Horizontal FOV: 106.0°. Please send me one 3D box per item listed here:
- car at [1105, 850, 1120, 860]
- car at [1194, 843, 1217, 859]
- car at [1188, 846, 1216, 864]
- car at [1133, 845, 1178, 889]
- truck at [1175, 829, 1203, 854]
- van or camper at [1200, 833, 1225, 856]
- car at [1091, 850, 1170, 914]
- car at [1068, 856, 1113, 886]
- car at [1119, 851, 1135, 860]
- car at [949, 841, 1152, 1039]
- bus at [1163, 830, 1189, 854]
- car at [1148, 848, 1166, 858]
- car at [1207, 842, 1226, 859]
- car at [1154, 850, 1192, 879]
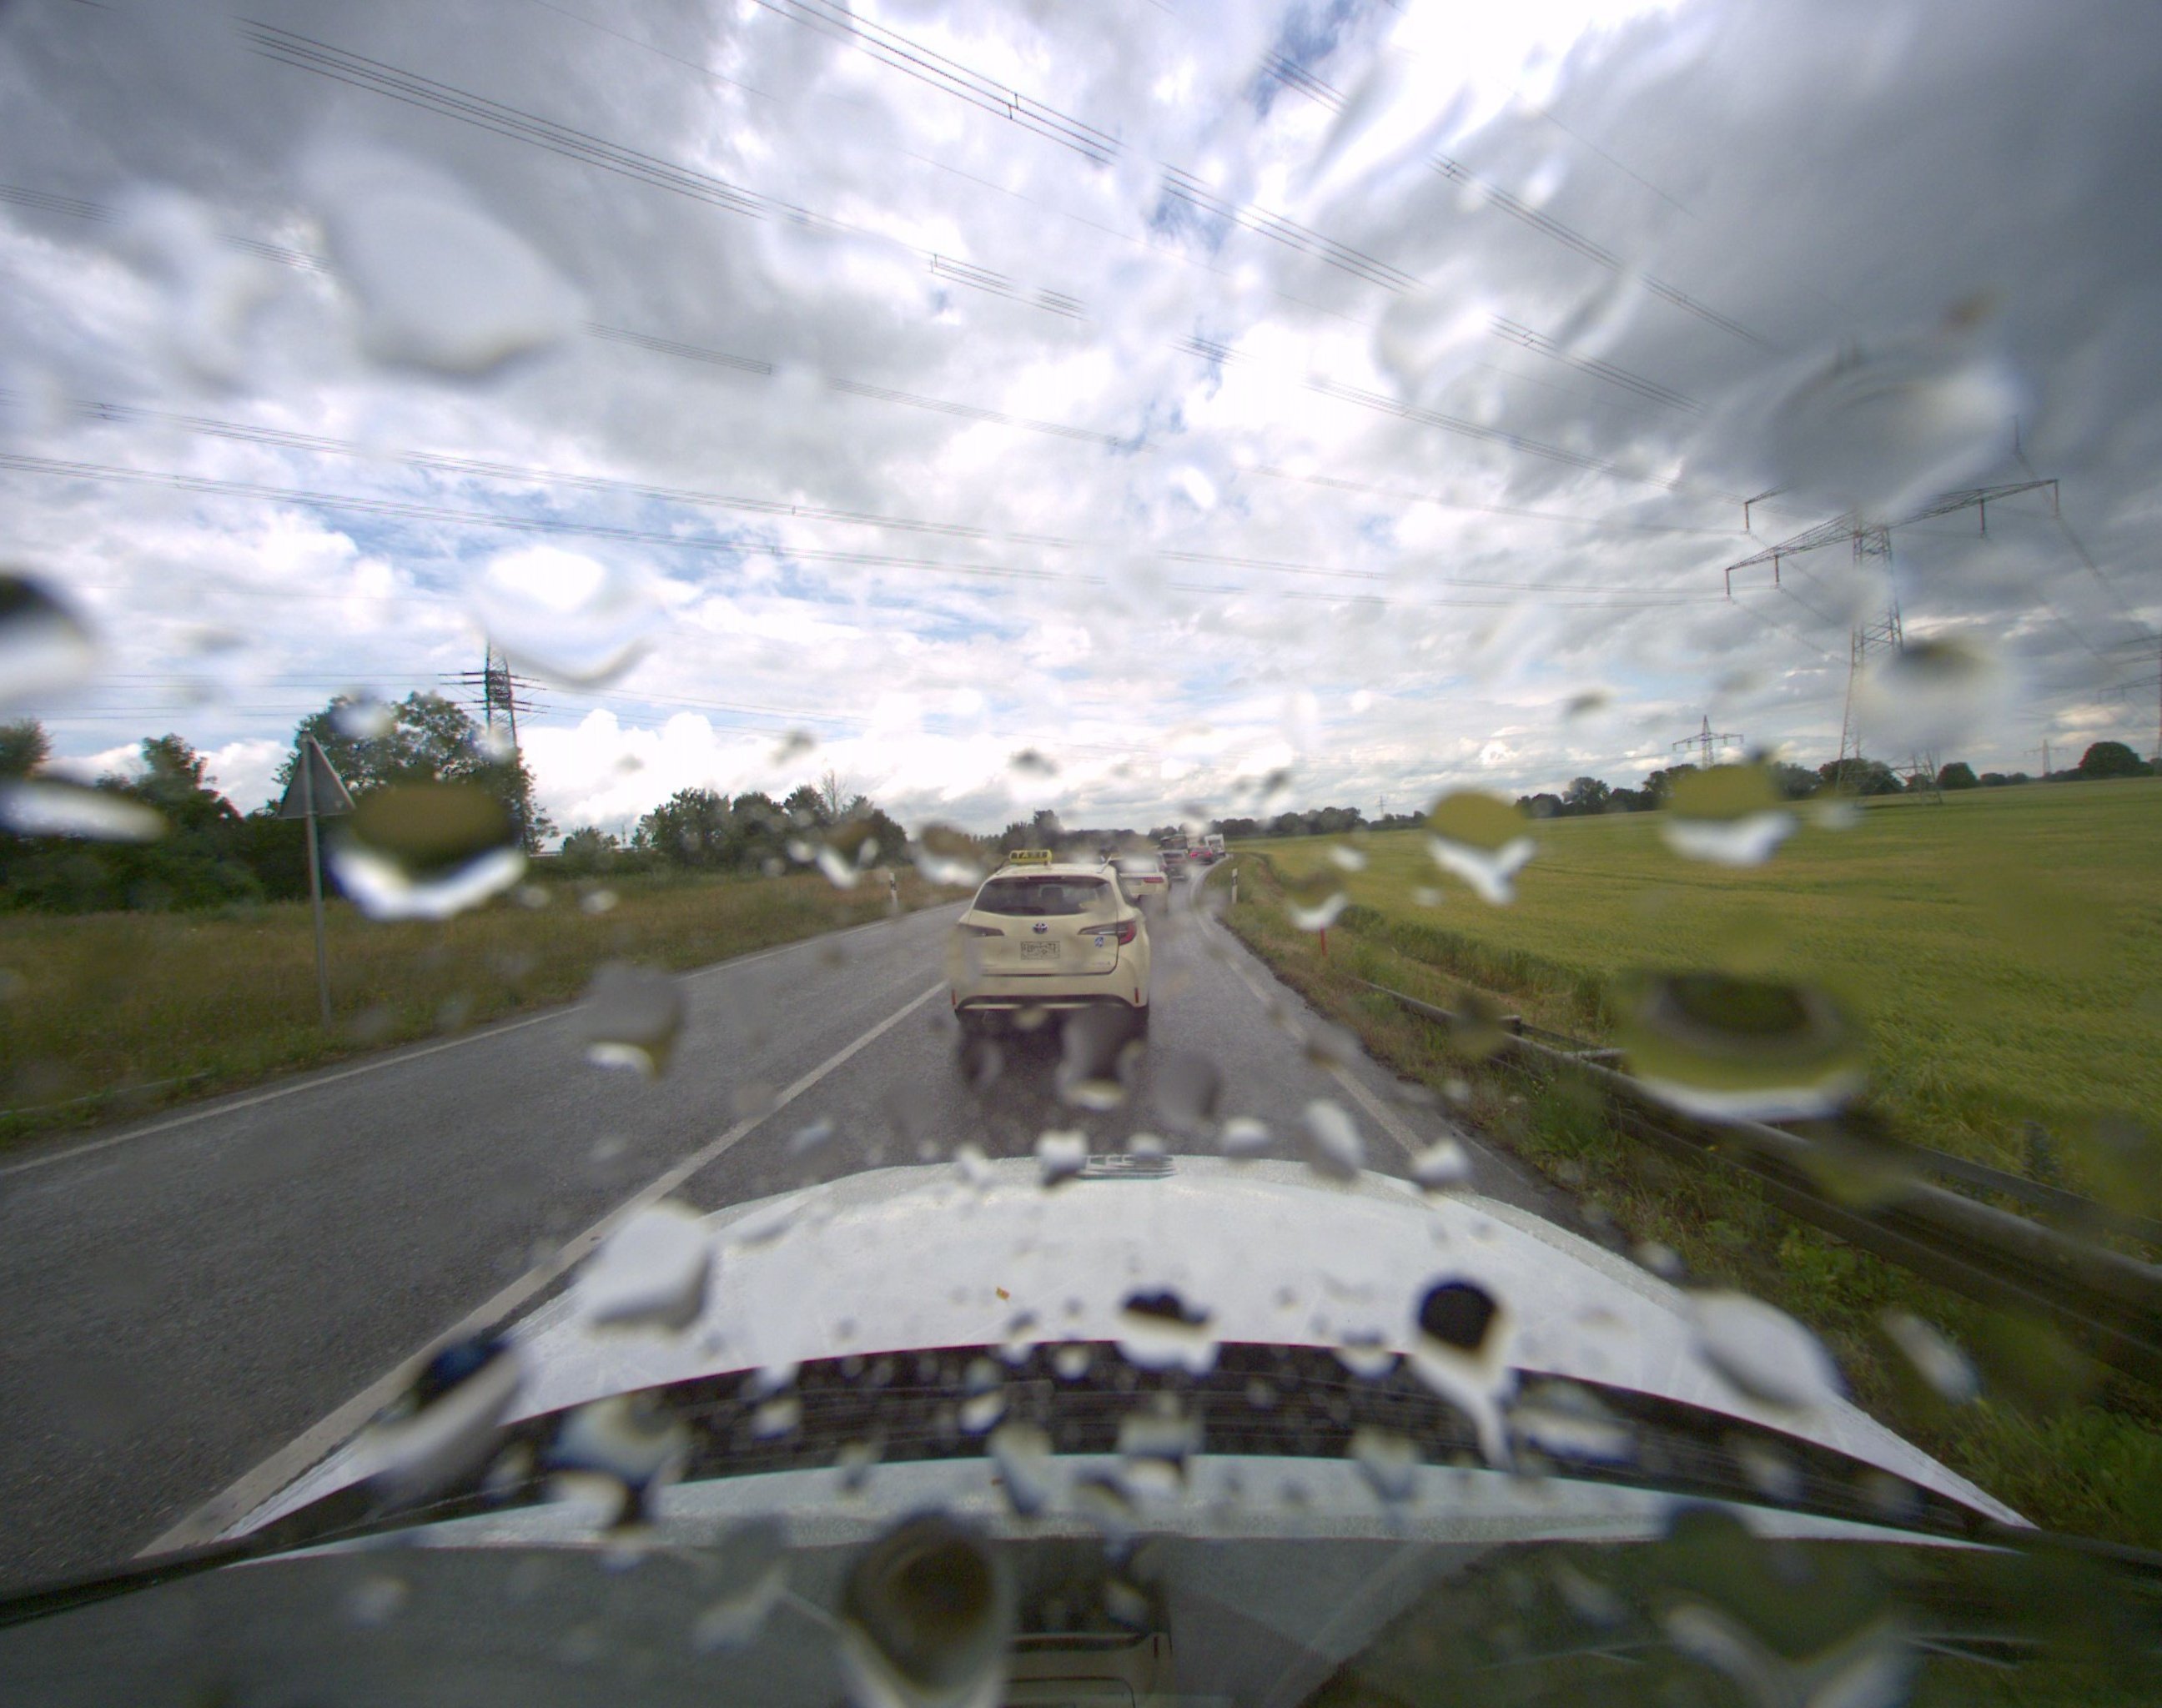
[{"bbox_3d":[6.636,0.202,172.637,1.997,2.014,3.980,-1,-1,-15],"label":"car"},{"bbox_3d":[11.991,-0.278,78.336,1.812,1.413,3.752,-1,-1,14],"label":"car"},{"bbox_3d":[10.014,0.070,67.228,1.947,1.413,4.406,-1,-1,12],"label":"car"},{"bbox_3d":[3.046,0.520,32.659,1.604,1.659,3.746,-1,-1,7],"label":"car"},{"bbox_3d":[17.591,-1.929,132.680,3.120,3.852,7.377,-1,-1,-3],"label":"truck"},{"bbox_3d":[16.943,-1.232,104.989,2.525,2.896,6.750,-1,0,4],"label":"van or camper"},{"bbox_3d":[1.421,0.664,21.829,1.831,1.492,4.617,-1,0,7],"label":"car"},{"bbox_3d":[0.534,0.847,41.188,1.620,1.397,4.331,-1,-1,10],"label":"car"},{"bbox_3d":[9.654,0.360,170.754,1.846,1.859,4.062,0,-1,-19],"label":"car"},{"bbox_3d":[-0.096,0.712,8.367,1.605,1.562,3.743,-1,-1,5],"label":"car"},{"bbox_3d":[13.703,-1.678,118.504,2.747,3.297,12.510,-1,0,2],"label":"bus"},{"bbox_3d":[14.259,-0.168,152.330,1.887,1.773,4.136,0,-1,-16],"label":"car"},{"bbox_3d":[14.867,-0.340,89.234,1.947,1.729,3.749,-1,-1,11],"label":"car"},{"bbox_3d":[4.836,0.546,42.386,1.602,1.413,3.750,-1,-1,11],"label":"car"}]
